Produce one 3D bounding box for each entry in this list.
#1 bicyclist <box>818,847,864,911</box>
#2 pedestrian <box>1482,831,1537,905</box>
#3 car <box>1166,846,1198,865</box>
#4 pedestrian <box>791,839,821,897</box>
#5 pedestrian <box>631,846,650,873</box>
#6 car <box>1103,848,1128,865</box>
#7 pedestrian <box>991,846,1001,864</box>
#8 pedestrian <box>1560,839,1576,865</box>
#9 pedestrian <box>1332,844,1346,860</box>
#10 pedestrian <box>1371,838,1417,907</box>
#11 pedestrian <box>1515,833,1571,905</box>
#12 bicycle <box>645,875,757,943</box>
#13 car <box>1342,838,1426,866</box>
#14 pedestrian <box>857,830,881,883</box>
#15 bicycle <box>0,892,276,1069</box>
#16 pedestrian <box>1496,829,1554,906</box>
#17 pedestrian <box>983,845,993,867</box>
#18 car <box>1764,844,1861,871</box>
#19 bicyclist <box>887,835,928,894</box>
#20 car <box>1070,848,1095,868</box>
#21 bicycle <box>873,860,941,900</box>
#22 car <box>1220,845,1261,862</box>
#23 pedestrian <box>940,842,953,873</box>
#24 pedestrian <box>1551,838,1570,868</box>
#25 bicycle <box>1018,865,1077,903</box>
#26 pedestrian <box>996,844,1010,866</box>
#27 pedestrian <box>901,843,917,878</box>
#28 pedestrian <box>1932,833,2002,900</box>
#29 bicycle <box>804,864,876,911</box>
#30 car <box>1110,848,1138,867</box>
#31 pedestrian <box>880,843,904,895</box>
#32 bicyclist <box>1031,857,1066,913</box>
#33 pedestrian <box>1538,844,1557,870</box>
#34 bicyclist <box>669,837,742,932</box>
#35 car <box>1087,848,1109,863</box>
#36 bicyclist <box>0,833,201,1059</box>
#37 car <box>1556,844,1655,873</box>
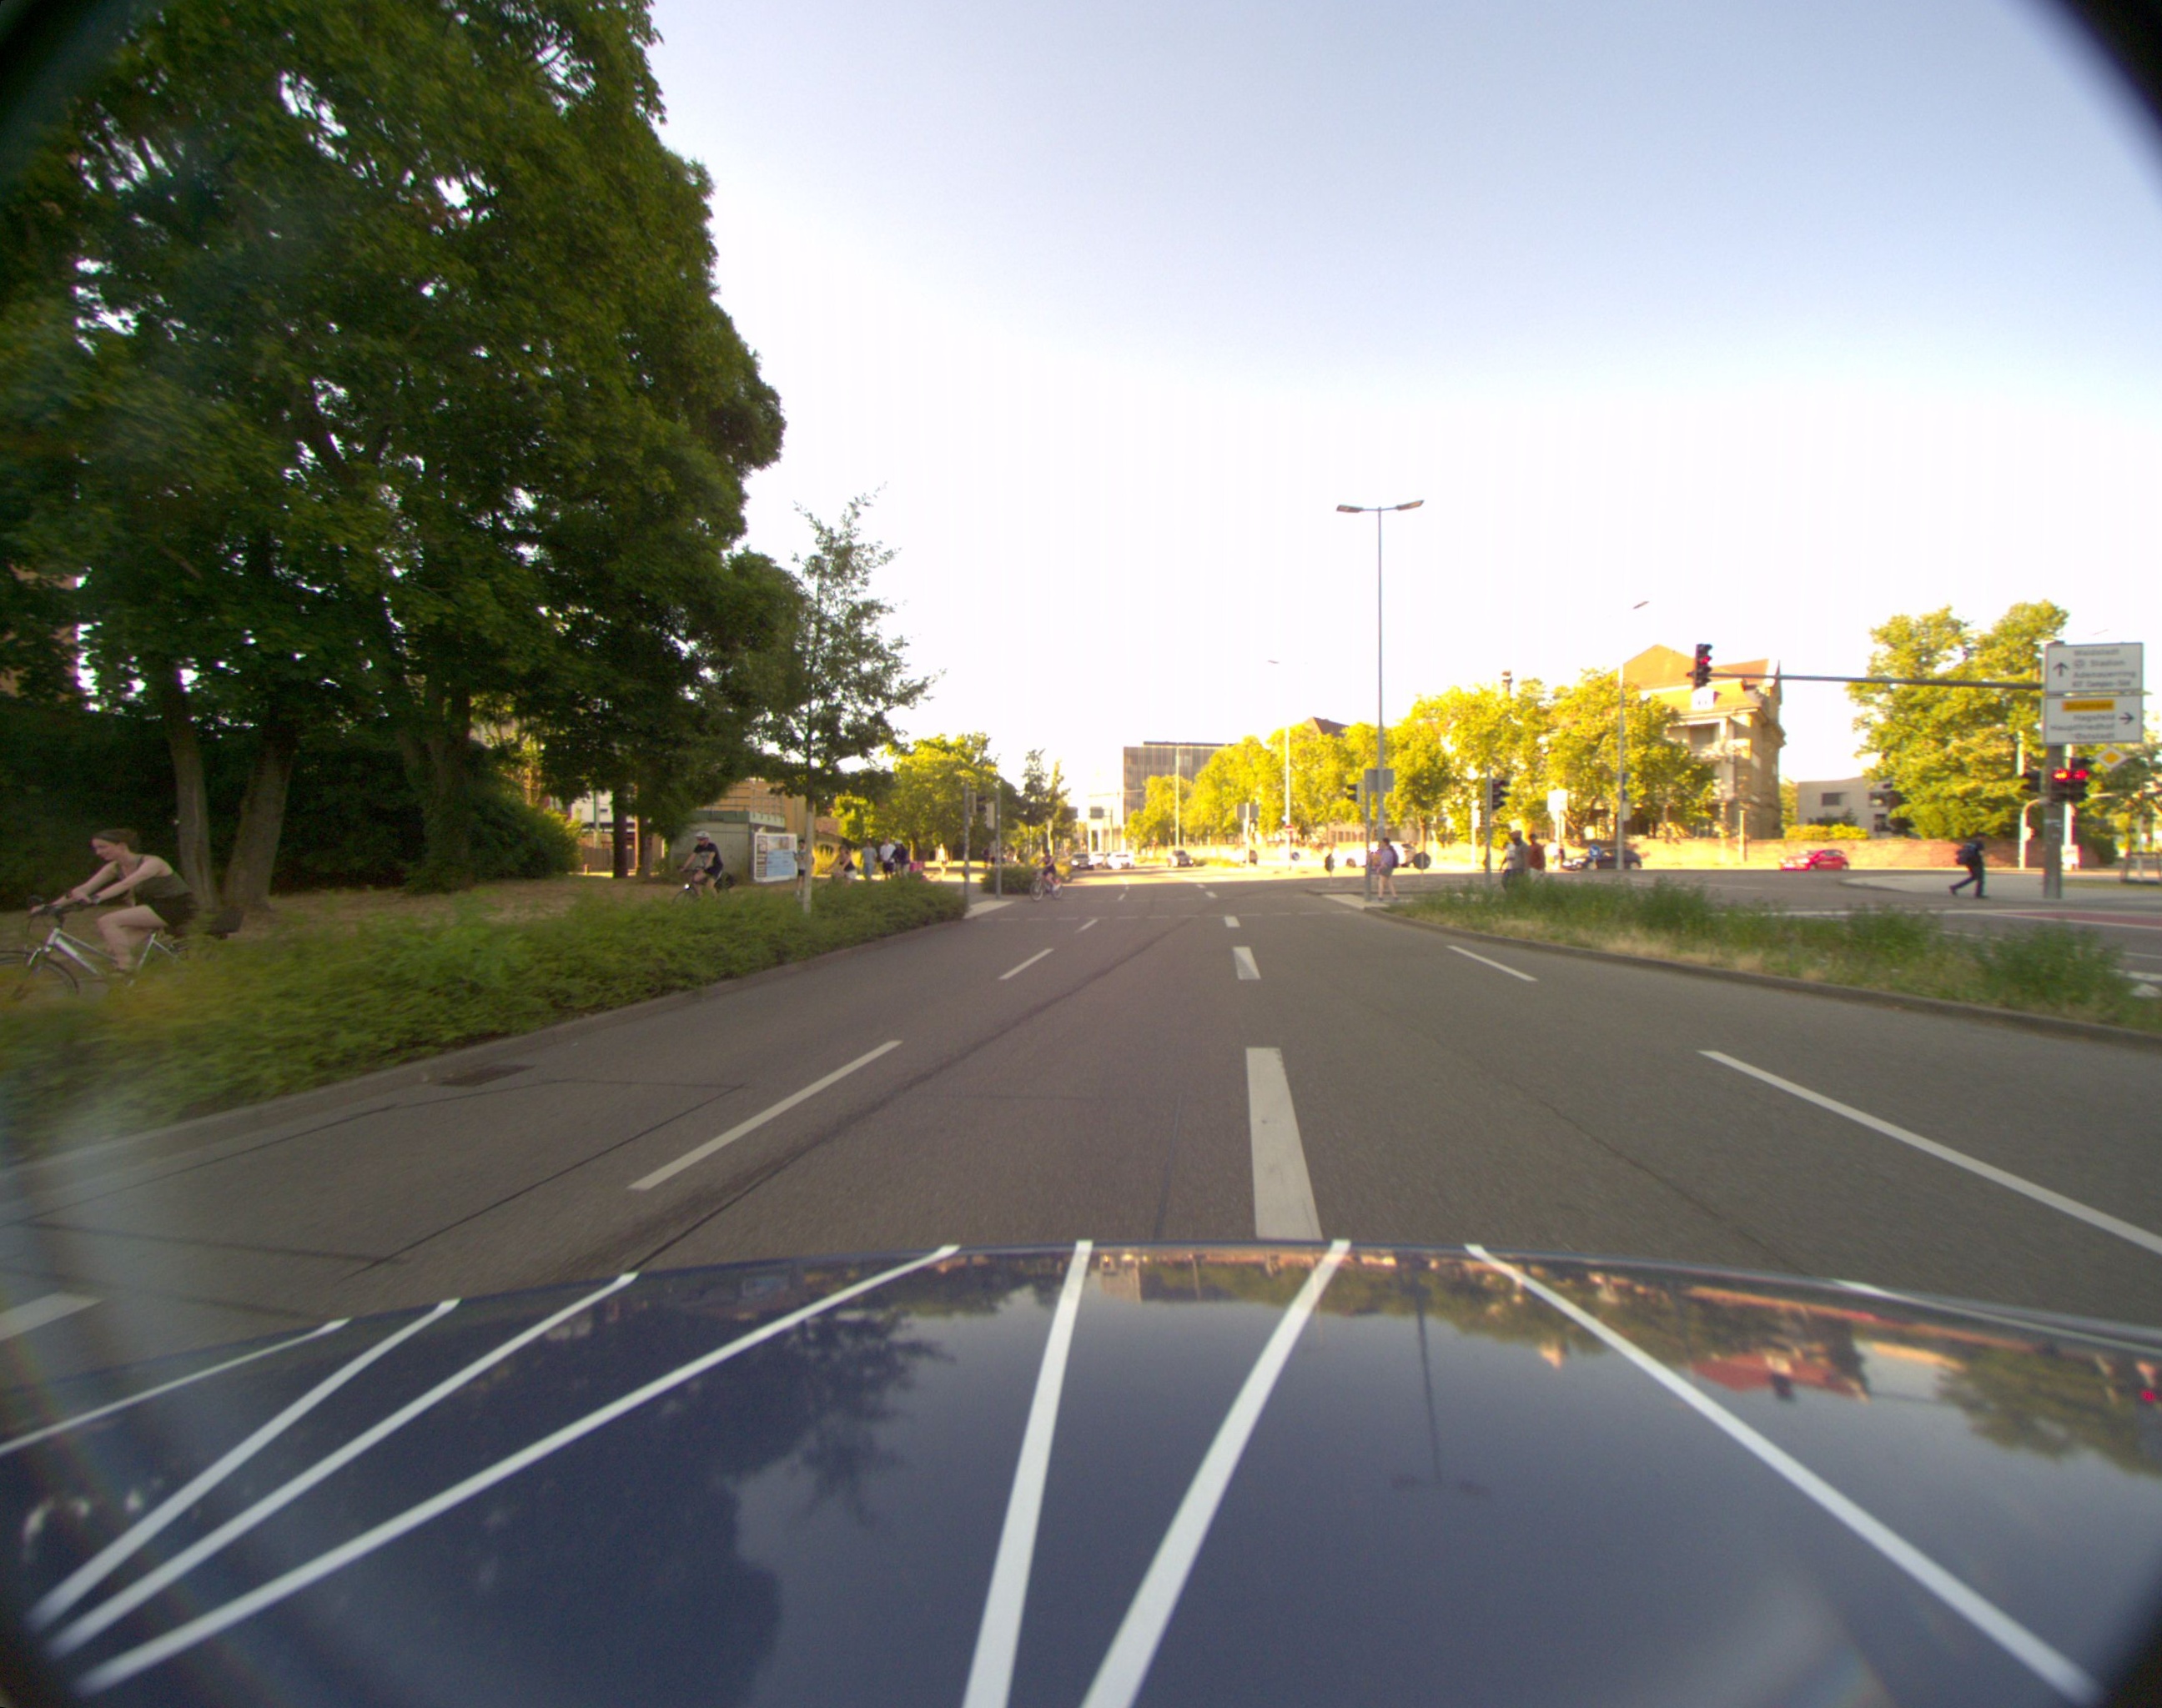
[{"bbox_3d":[-5.956,0.618,18.867,0.716,1.539,0.851,-1,-1,19],"label":"bicyclist"},{"bbox_3d":[10.318,0.331,18.327,0.926,1.731,0.757,0,1,9],"label":"pedestrian"},{"bbox_3d":[8.319,0.132,62.959,1.924,1.510,4.016,0,1,-3],"label":"car"},{"bbox_3d":[-8.119,0.399,22.438,0.622,1.689,0.630,0,1,2],"label":"pedestrian"},{"bbox_3d":[-33.143,0.418,57.198,0.900,2.002,0.868,0,1,0],"label":"pedestrian"},{"bbox_3d":[3.137,0.222,70.350,1.924,1.510,4.016,0,1,-3],"label":"car"},{"bbox_3d":[-7.517,0.105,67.282,0.763,1.534,0.846,0,1,-12],"label":"pedestrian"},{"bbox_3d":[31.872,-0.110,49.708,0.791,1.644,0.714,3,5,35],"label":"pedestrian"},{"bbox_3d":[23.996,-0.195,70.617,0.974,1.528,0.922,0,1,-6],"label":"pedestrian"},{"bbox_3d":[7.991,0.450,19.416,0.926,1.731,0.757,0,1,9],"label":"pedestrian"},{"bbox_3d":[11.440,0.360,18.839,0.926,1.731,0.788,0,1,9],"label":"pedestrian"},{"bbox_3d":[-7.437,1.035,15.041,0.779,1.149,2.292,0,1,9],"label":"bicycle"},{"bbox_3d":[19.900,-0.105,49.994,4.594,1.673,2.200,-2,-2,44],"label":"car"},{"bbox_3d":[-7.614,0.077,27.265,0.575,1.859,0.624,1,2,44],"label":"pedestrian"},{"bbox_3d":[-8.320,0.989,6.272,0.779,1.149,2.291,2,2,5],"label":"bicycle"},{"bbox_3d":[10.205,0.310,17.503,0.926,1.731,0.757,0,1,9],"label":"pedestrian"},{"bbox_3d":[-7.181,0.161,58.571,0.712,1.703,0.733,0,1,-6],"label":"pedestrian"},{"bbox_3d":[45.600,0.220,47.423,4.608,1.576,2.193,0,-1,-13],"label":"car"},{"bbox_3d":[-5.456,0.317,23.913,0.779,1.823,1.094,0,1,20],"label":"bicyclist"},{"bbox_3d":[0.081,0.321,60.940,1.803,1.510,3.998,0,1,-3],"label":"car"},{"bbox_3d":[-5.440,0.783,23.959,0.779,1.149,2.584,0,1,20],"label":"bicycle"},{"bbox_3d":[15.681,-0.103,75.036,2.158,1.611,4.356,0,1,-16],"label":"car"},{"bbox_3d":[-7.433,0.183,42.044,0.676,1.694,0.876,0,1,-12],"label":"pedestrian"},{"bbox_3d":[30.935,-0.049,49.005,0.870,1.884,0.713,1,5,20],"label":"pedestrian"},{"bbox_3d":[-1.068,0.961,24.873,0.717,1.115,2.070,-1,1,38],"label":"bicycle"},{"bbox_3d":[-6.233,0.076,60.596,1.019,1.739,0.848,0,1,-12],"label":"pedestrian"},{"bbox_3d":[-7.753,0.286,34.254,0.622,1.565,0.639,0,1,-6],"label":"pedestrian"},{"bbox_3d":[22.678,0.318,19.468,0.898,1.675,0.748,0,1,9],"label":"pedestrian"},{"bbox_3d":[-5.950,0.807,18.898,0.718,1.114,1.872,-1,-1,19],"label":"bicycle"},{"bbox_3d":[3.511,0.253,63.039,1.803,1.510,4.429,0,1,-3],"label":"car"},{"bbox_3d":[-6.804,0.538,27.416,0.575,1.859,0.624,1,2,44],"label":"pedestrian"},{"bbox_3d":[-1.059,1.007,24.879,0.715,1.778,0.851,-1,1,38],"label":"bicyclist"},{"bbox_3d":[29.890,0.181,48.739,0.870,1.665,0.713,1,5,20],"label":"pedestrian"},{"bbox_3d":[-7.430,0.572,15.078,0.779,1.820,1.094,0,1,9],"label":"bicyclist"},{"bbox_3d":[1.716,0.131,76.905,1.924,1.510,4.016,0,1,-3],"label":"car"},{"bbox_3d":[-8.270,0.675,6.247,0.779,1.668,1.093,2,2,5],"label":"bicyclist"},{"bbox_3d":[30.698,0.276,44.534,4.608,1.576,2.193,0,-1,-13],"label":"car"}]
